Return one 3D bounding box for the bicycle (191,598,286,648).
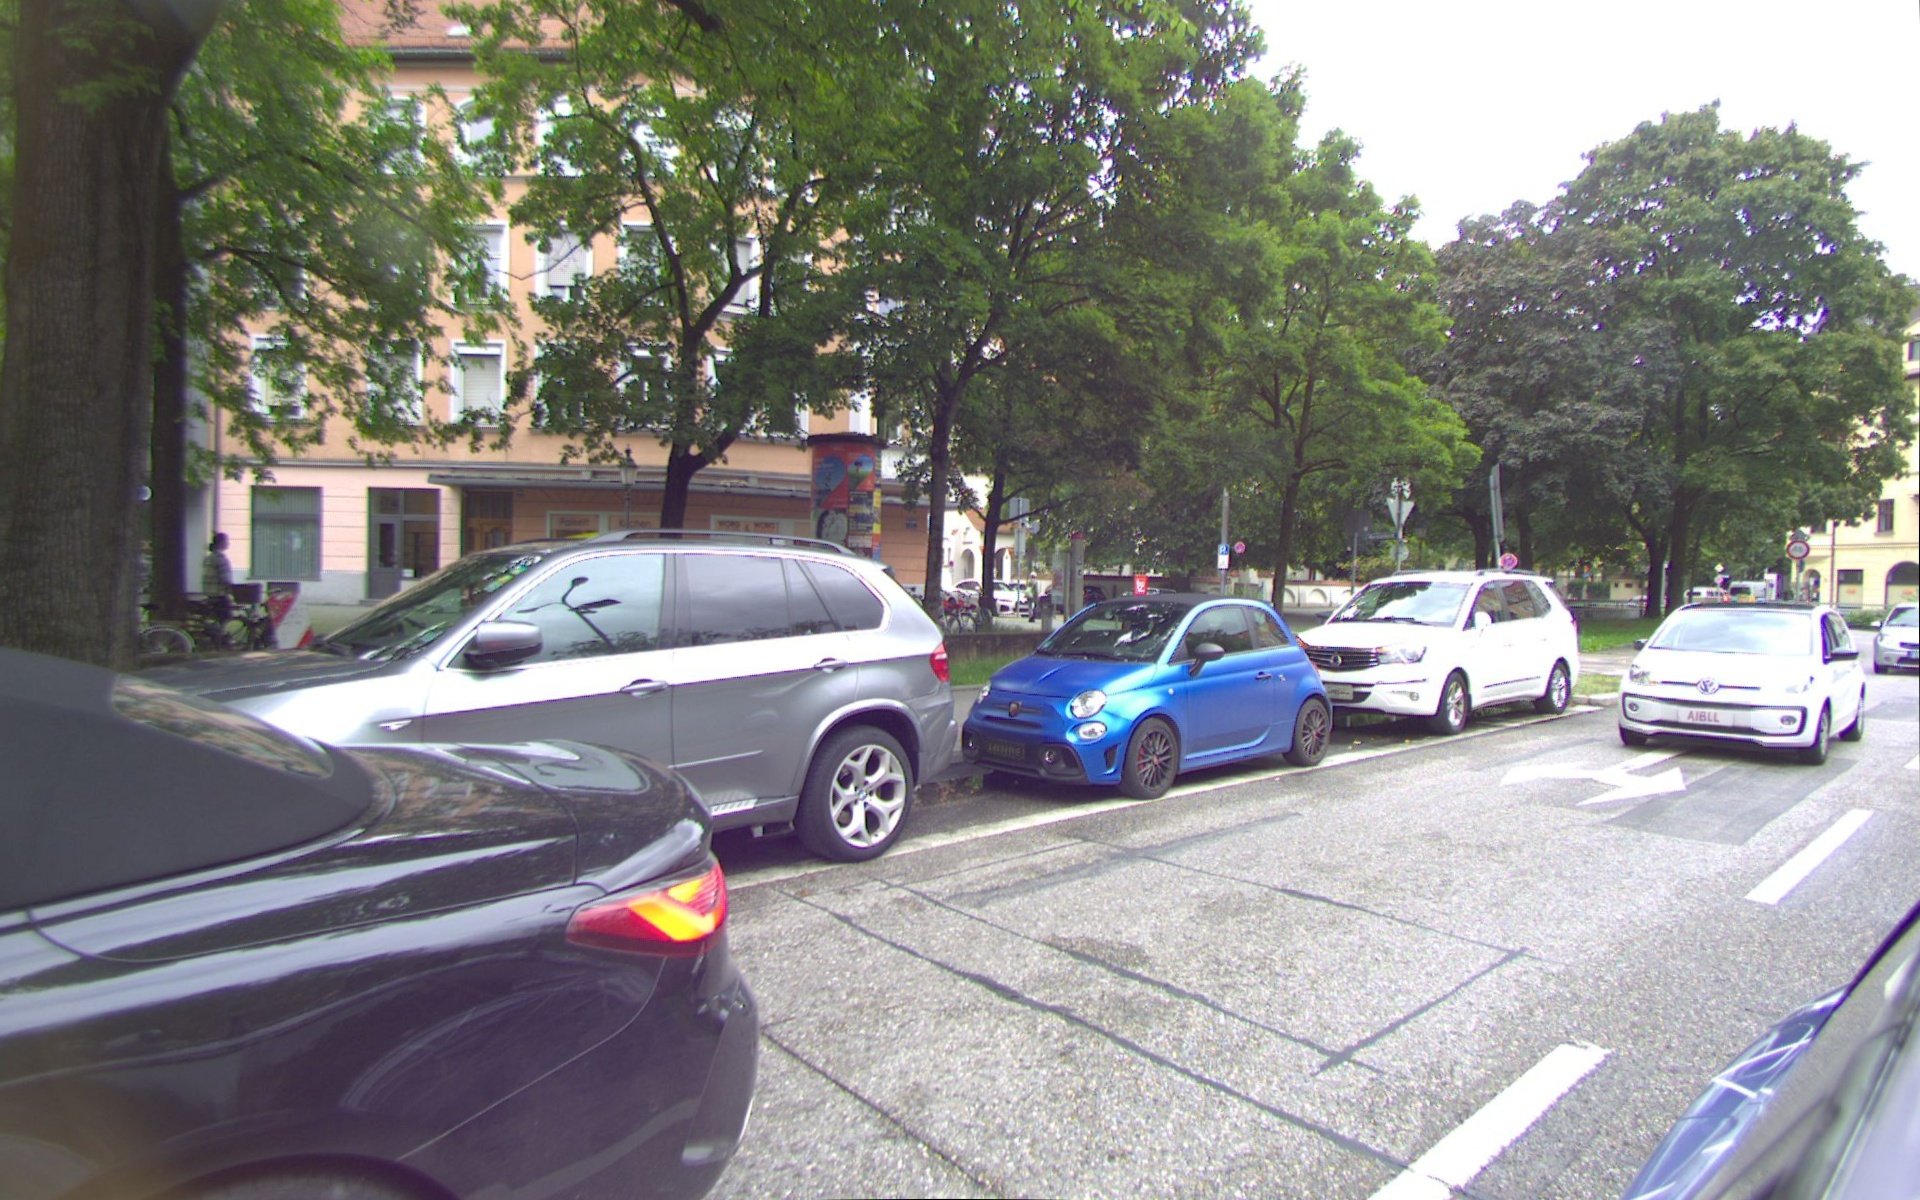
[{"bbox_3d":[-11.132,0.346,15.636,1.154,0.732,0.320,-1,0,-19],"label":"bicycle"}]

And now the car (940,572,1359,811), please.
[{"bbox_3d":[1.708,0.596,8.489,3.597,1.568,1.523,0,2,-41],"label":"car"}]

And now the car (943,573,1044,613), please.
[{"bbox_3d":[1.242,-0.278,39.386,1.824,1.485,4.446,-1,1,-31],"label":"car"}]

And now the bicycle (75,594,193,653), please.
[{"bbox_3d":[-10.817,0.295,13.283,1.155,0.732,0.319,-1,0,-30],"label":"bicycle"}]

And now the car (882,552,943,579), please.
[{"bbox_3d":[-2.934,-2.057,61.233,1.824,1.485,4.447,-1,1,-31],"label":"car"}]

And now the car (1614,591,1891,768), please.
[{"bbox_3d":[8.338,0.679,10.546,3.557,1.484,1.647,0,2,-42],"label":"car"}]

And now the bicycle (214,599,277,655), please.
[{"bbox_3d":[-9.945,0.355,14.111,0.312,0.732,1.181,0,0,-15],"label":"bicycle"}]

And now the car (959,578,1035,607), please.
[{"bbox_3d":[1.863,-0.397,52.611,1.824,1.485,4.446,-1,1,-31],"label":"car"}]

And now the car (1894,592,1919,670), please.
[{"bbox_3d":[21.026,0.645,21.290,3.820,1.549,1.647,0,2,-42],"label":"car"}]

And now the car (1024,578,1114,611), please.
[{"bbox_3d":[5.013,-0.266,47.071,1.824,1.485,4.446,-1,1,-31],"label":"car"}]

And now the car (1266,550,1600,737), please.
[{"bbox_3d":[5.982,0.415,12.485,4.935,1.879,1.847,0,2,-41],"label":"car"}]

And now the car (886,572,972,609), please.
[{"bbox_3d":[-1.400,-0.418,43.866,1.824,1.485,4.447,-1,1,-31],"label":"car"}]

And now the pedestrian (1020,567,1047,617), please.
[{"bbox_3d":[2.337,-0.263,32.250,0.632,1.571,0.603,0,0,-35],"label":"pedestrian"}]

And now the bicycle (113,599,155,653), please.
[{"bbox_3d":[-11.993,0.361,14.713,0.313,0.732,1.179,0,0,-32],"label":"bicycle"}]

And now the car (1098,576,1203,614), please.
[{"bbox_3d":[7.878,-0.229,42.165,1.824,1.485,4.446,-1,1,-31],"label":"car"}]

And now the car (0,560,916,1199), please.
[{"bbox_3d":[-2.443,0.635,1.221,4.714,1.406,1.727,0,2,-41],"label":"car"}]

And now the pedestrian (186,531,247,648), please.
[{"bbox_3d":[-12.481,-0.176,16.994,0.617,1.926,0.630,0,0,-13],"label":"pedestrian"}]

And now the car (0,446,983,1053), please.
[{"bbox_3d":[-2.133,0.423,5.216,1.933,1.842,4.480,2,2,45],"label":"car"}]

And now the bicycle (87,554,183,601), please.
[{"bbox_3d":[-23.270,-0.628,28.556,2.204,1.306,0.507,0,0,-4],"label":"bicycle"}]

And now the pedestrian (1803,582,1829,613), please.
[{"bbox_3d":[58.281,-0.168,68.926,0.860,2.039,1.010,0,0,-9],"label":"pedestrian"}]
